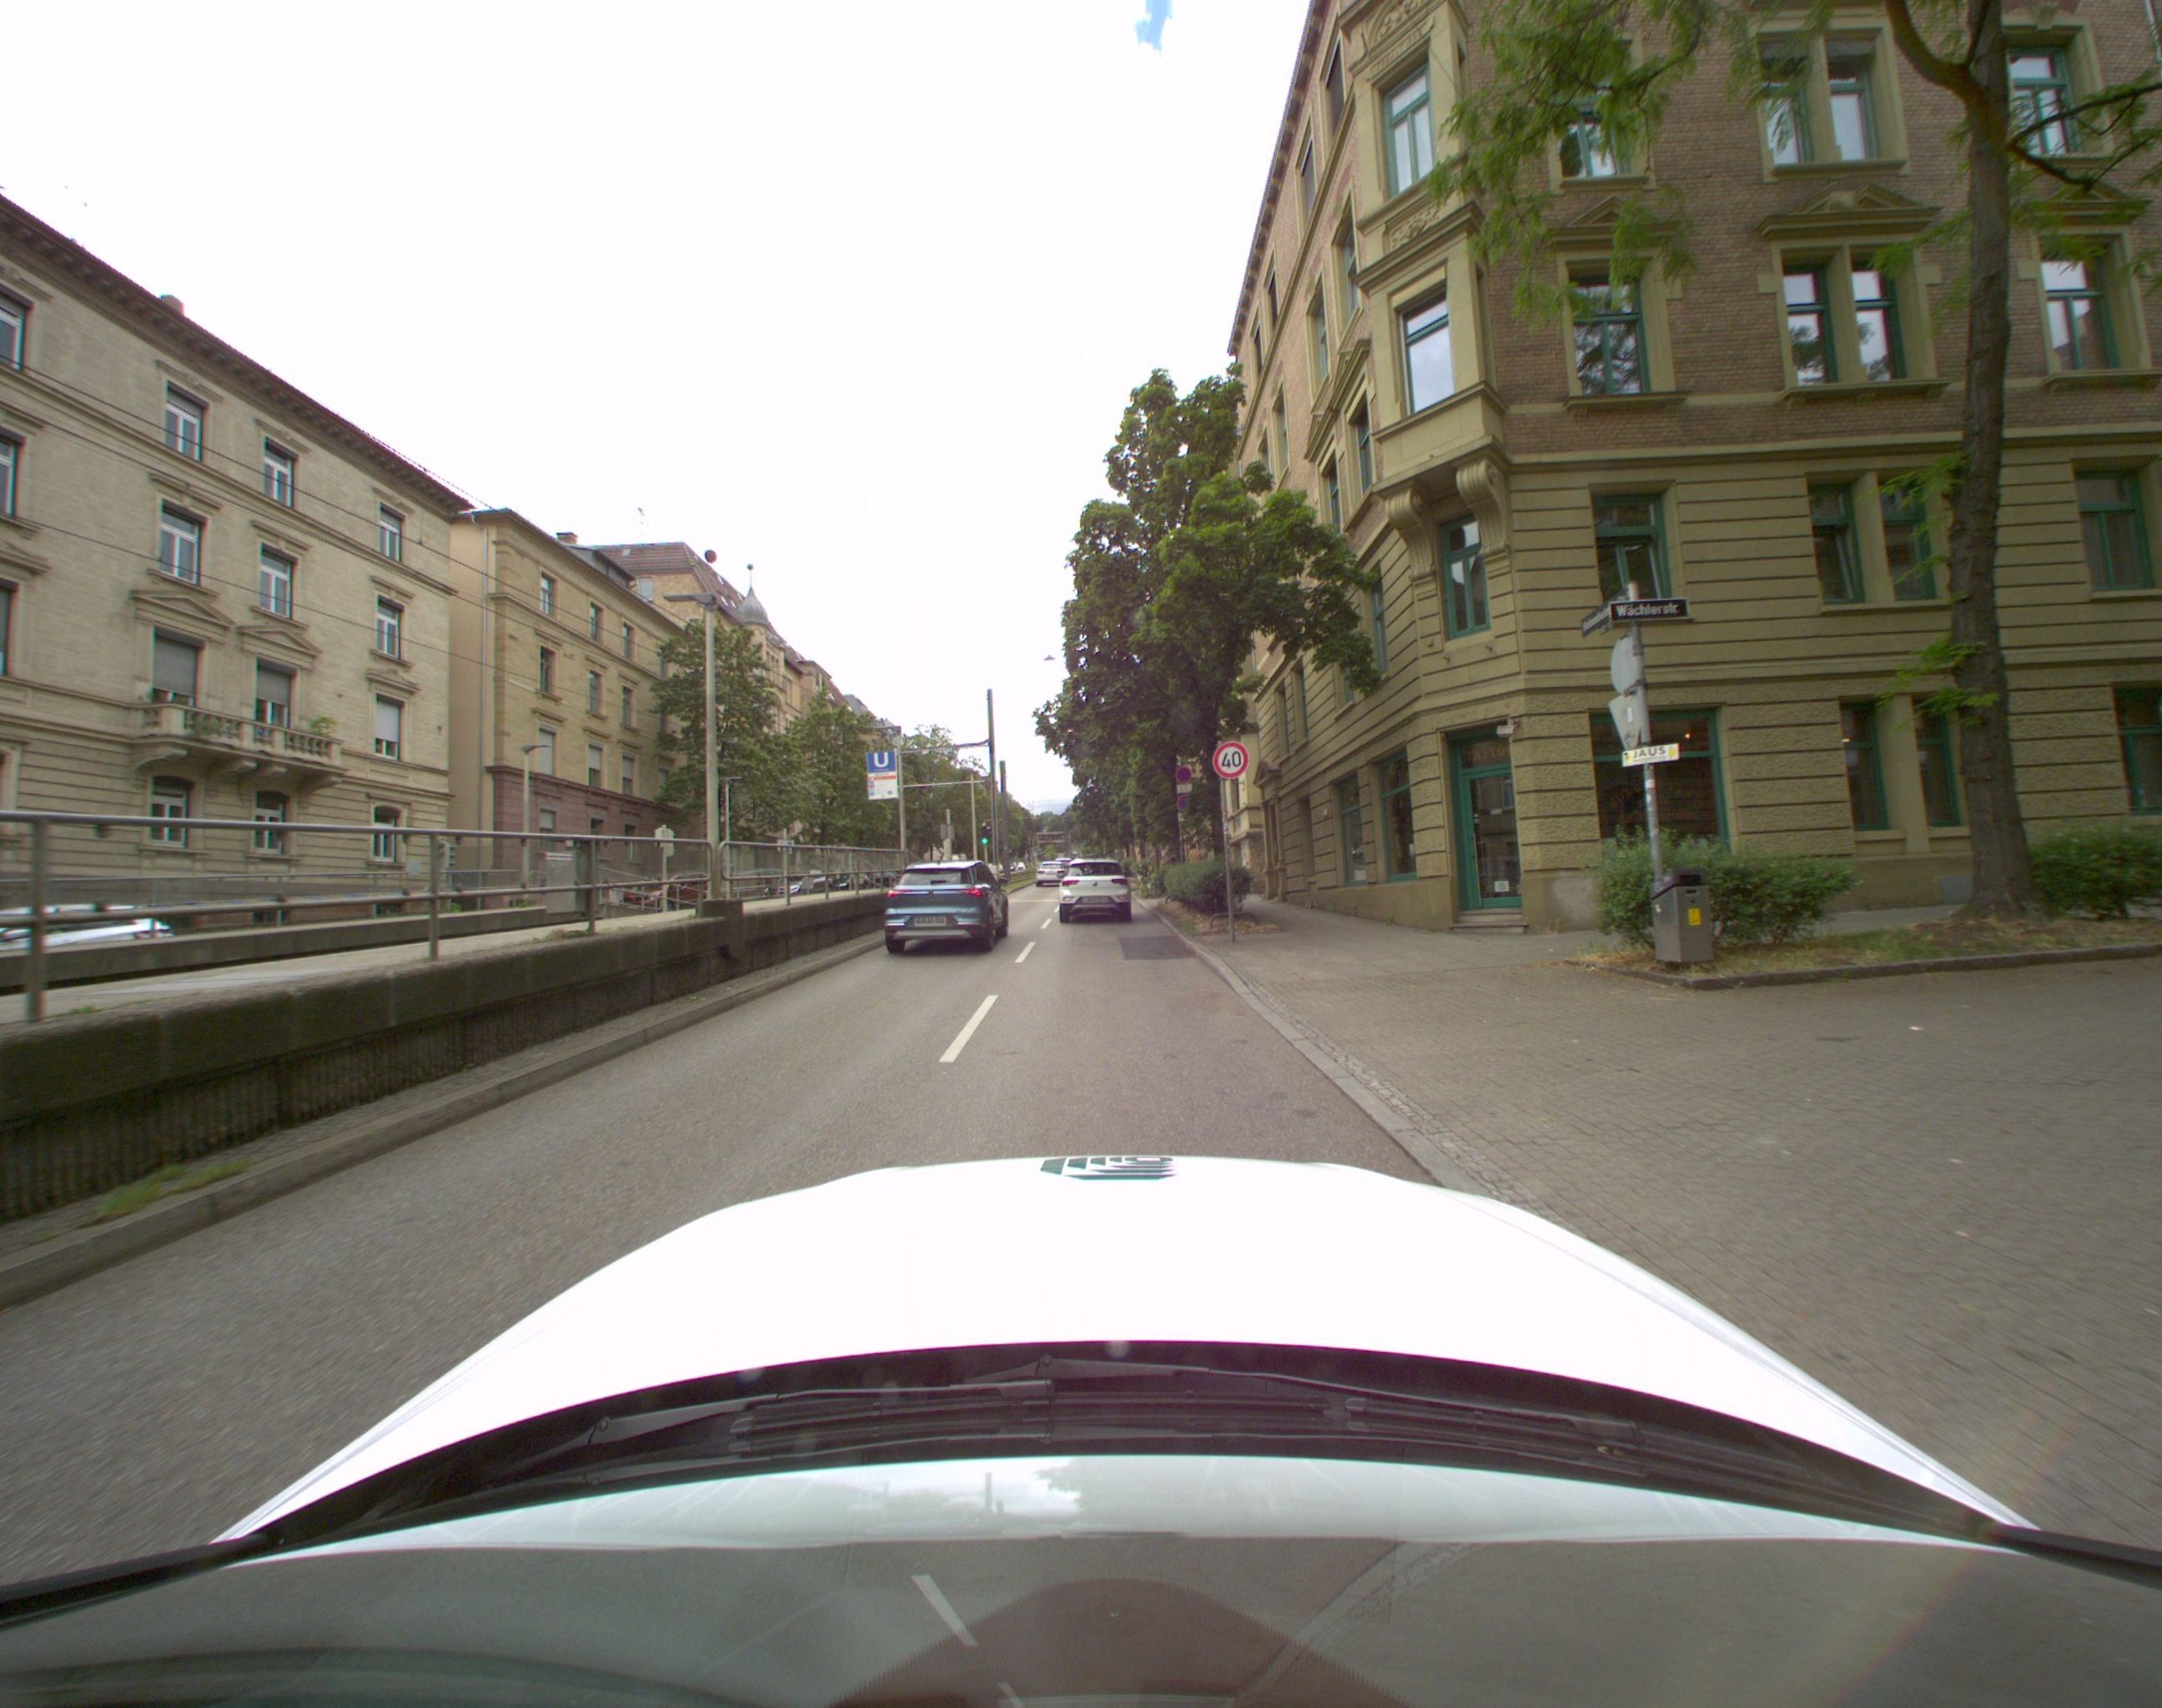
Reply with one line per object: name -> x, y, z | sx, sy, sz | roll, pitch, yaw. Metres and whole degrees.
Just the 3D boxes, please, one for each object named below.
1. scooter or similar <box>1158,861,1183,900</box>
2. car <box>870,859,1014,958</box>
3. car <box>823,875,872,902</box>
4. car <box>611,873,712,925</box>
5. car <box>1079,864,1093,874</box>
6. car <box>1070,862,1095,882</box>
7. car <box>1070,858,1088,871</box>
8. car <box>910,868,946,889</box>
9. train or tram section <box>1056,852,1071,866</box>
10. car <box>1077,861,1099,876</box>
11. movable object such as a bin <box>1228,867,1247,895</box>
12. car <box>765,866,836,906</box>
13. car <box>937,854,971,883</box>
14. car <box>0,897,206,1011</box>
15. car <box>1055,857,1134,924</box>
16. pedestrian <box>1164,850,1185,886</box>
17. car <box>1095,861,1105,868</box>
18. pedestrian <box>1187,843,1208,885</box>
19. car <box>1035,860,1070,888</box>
scooter or similar -> 3.219, 0.932, 29.240 | 0.660, 1.304, 1.384 | -5, -1, 1
car -> -2.408, 0.905, 15.166 | 1.829, 1.546, 4.194 | -1, -1, 1
car -> -14.632, 2.138, 51.305 | 1.672, 1.447, 4.219 | -4, -1, 2
car -> -17.206, 1.787, 33.617 | 1.842, 1.860, 4.139 | -3, -1, 1
car -> 0.805, 2.454, 129.948 | 2.062, 1.546, 4.192 | -1, -1, 0
car -> 0.152, 1.414, 65.351 | 1.829, 1.546, 4.194 | -1, -1, 1
car -> -0.238, 1.365, 102.396 | 2.063, 1.546, 4.190 | -1, -1, -2
car -> -11.482, 1.817, 61.232 | 1.569, 1.377, 3.661 | -3, -1, 6
train or tram section -> -4.344, 1.380, 205.077 | 2.984, 3.349, 13.443 | -3, -1, 2
car -> 0.706, 1.532, 85.882 | 2.063, 1.546, 4.189 | -1, -1, -3
movable object such as a bin -> 5.397, 0.927, 28.070 | 0.496, 0.919, 0.446 | -3, -1, 20
car -> -13.714, 1.533, 40.113 | 1.703, 1.735, 4.577 | -3, -1, 1
car -> -13.031, 1.522, 84.080 | 2.385, 2.699, 6.516 | -4, -1, -1
car -> -18.449, 1.757, 14.209 | 1.929, 1.679, 4.000 | -4, 0, 1
car -> 0.323, 0.894, 21.342 | 1.830, 1.546, 4.192 | -1, -1, 0
pedestrian -> 4.262, 0.638, 37.178 | 0.683, 1.574, 1.216 | -4, -1, 1
car -> 4.495, 2.523, 197.191 | 2.063, 1.546, 4.189 | -1, -1, -3
pedestrian -> 5.303, 0.475, 37.245 | 0.683, 1.829, 1.121 | -4, -2, 1
car -> -1.647, 1.156, 48.565 | 1.829, 1.546, 4.194 | -1, -1, 1
